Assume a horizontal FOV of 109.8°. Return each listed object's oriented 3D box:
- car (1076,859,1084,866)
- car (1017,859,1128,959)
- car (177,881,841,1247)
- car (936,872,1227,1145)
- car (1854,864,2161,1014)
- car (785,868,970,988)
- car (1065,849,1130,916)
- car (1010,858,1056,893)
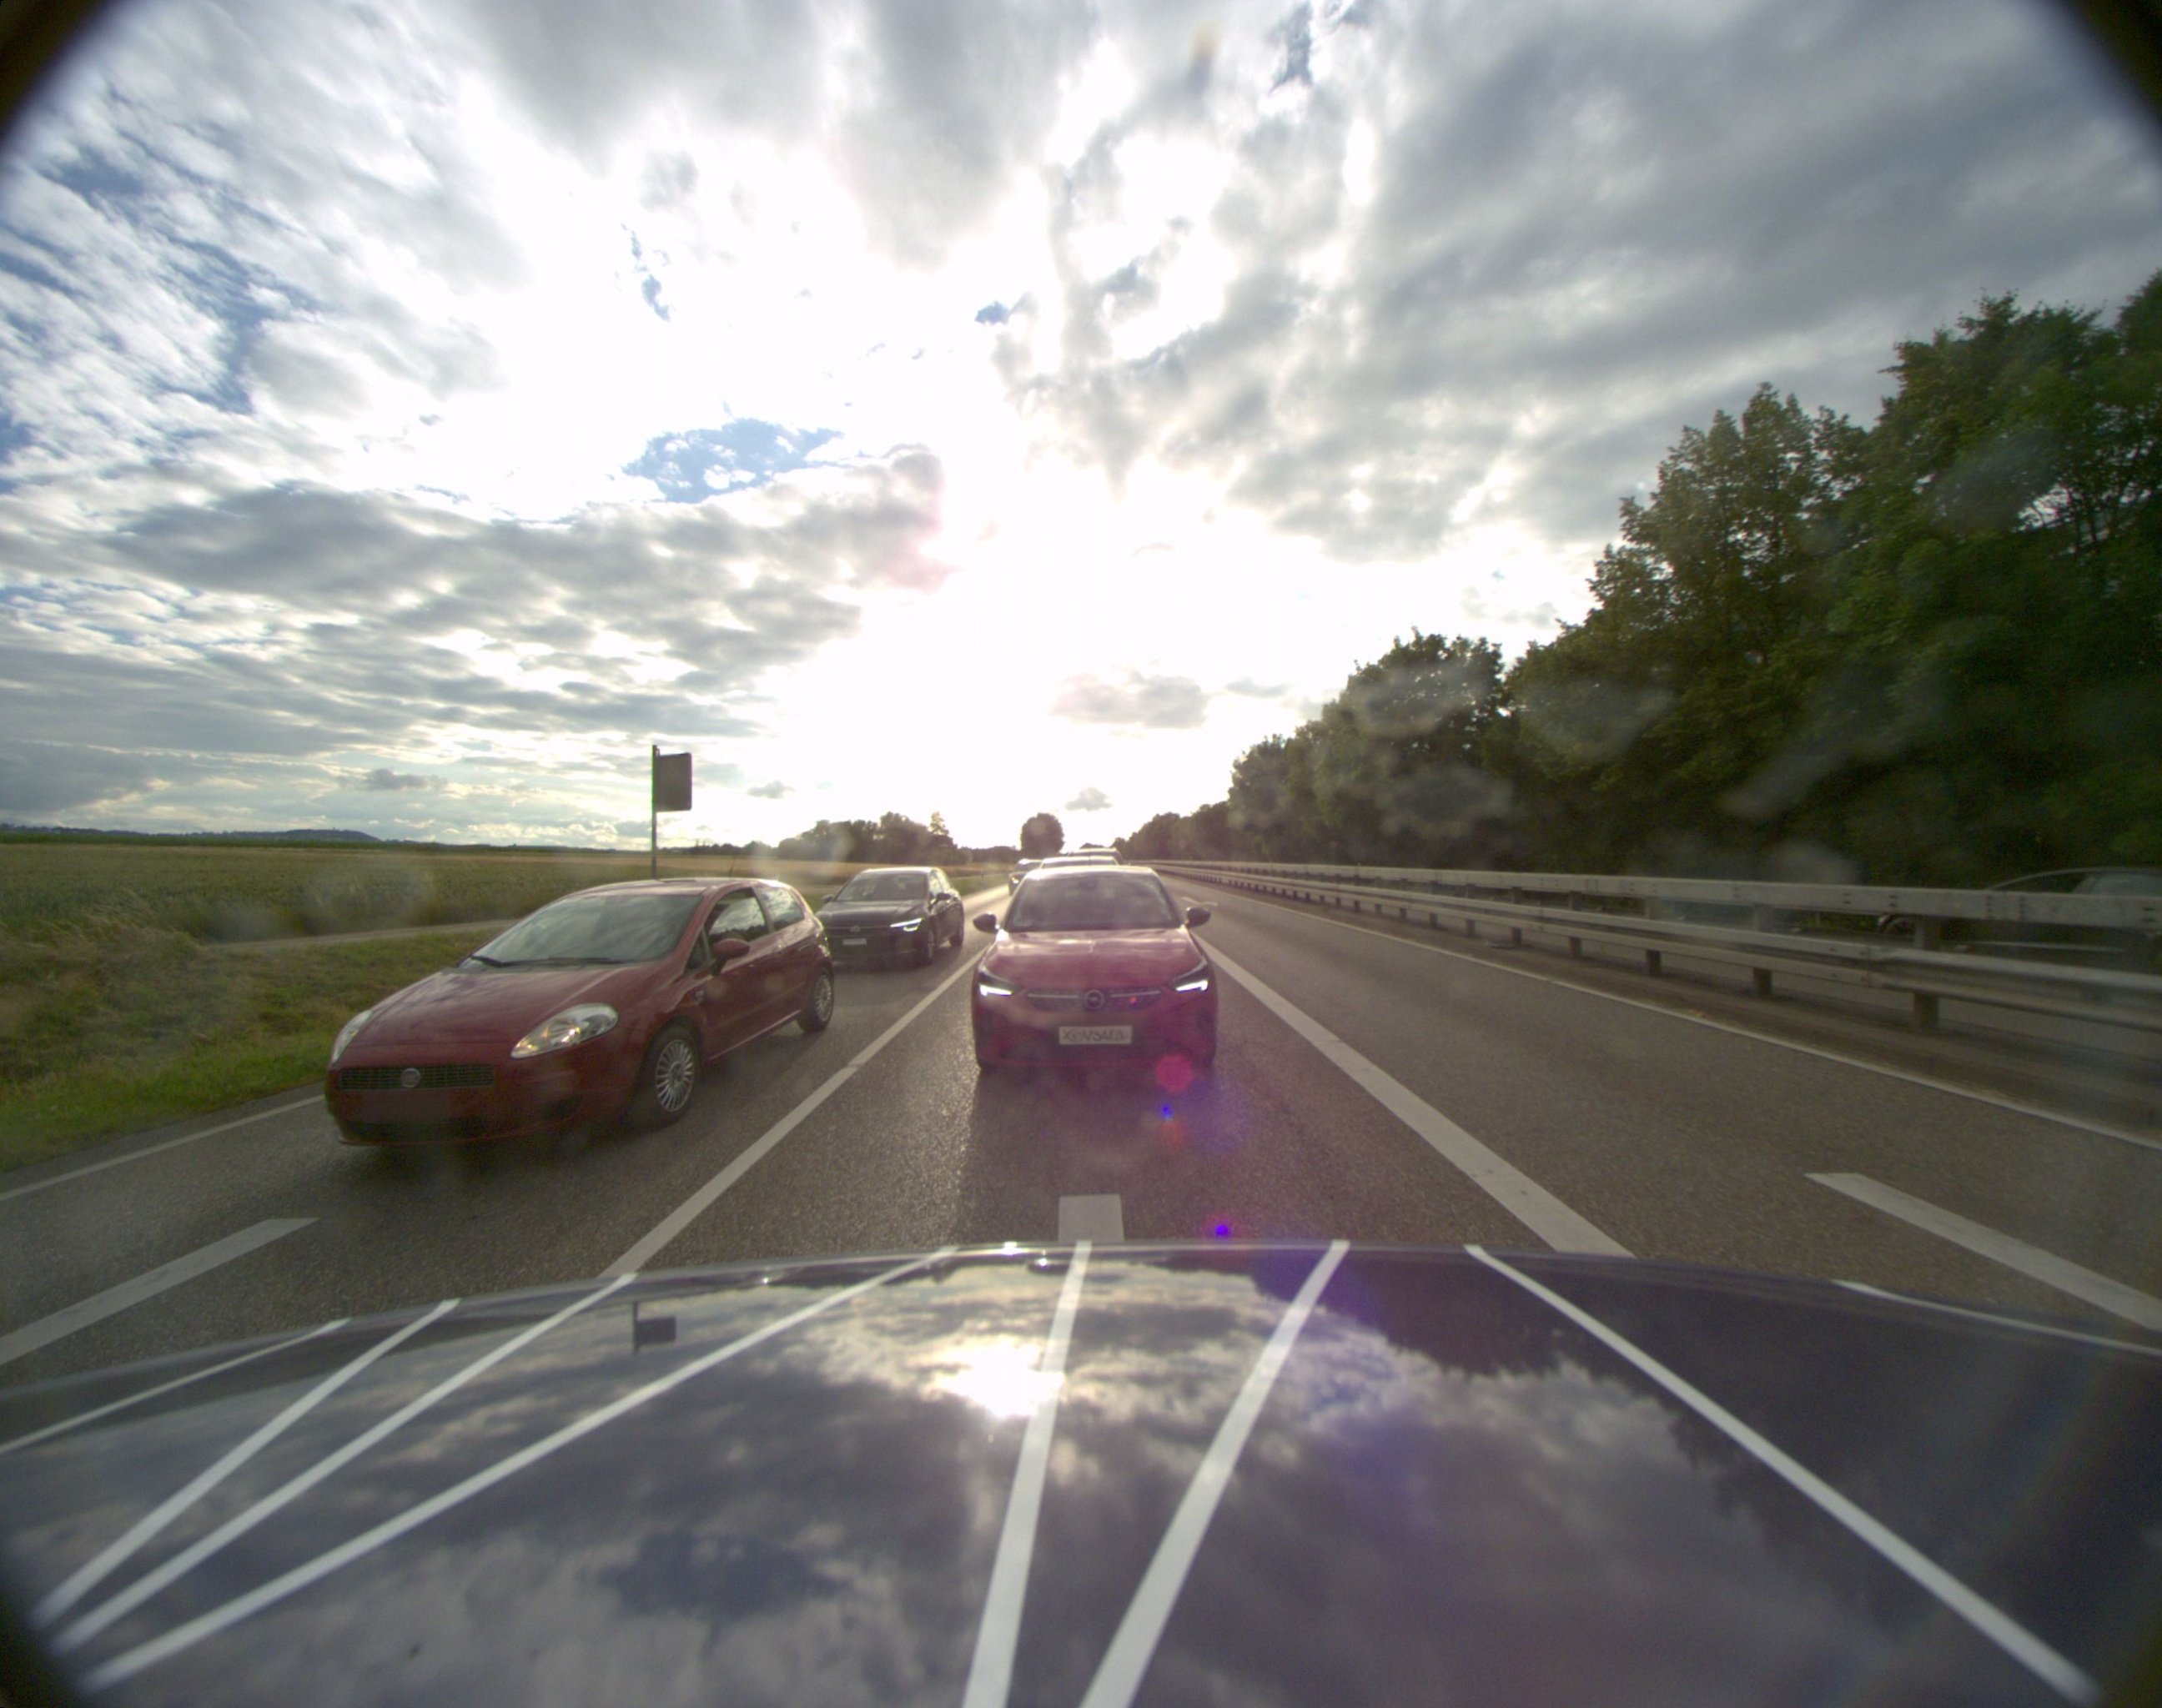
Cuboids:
[{"bbox_3d":[-0.264,2.117,183.752,1.751,1.550,3.731,-2,1,1],"label":"car"},{"bbox_3d":[-0.107,0.881,14.095,1.712,1.448,4.061,-2,1,1],"label":"car"},{"bbox_3d":[-3.256,1.046,5.467,1.712,1.448,3.908,-2,1,1],"label":"car"},{"bbox_3d":[0.033,0.994,6.649,1.712,1.448,4.061,-2,1,1],"label":"car"},{"bbox_3d":[12.490,0.936,9.142,1.920,1.448,4.372,-2,1,0],"label":"car"},{"bbox_3d":[-3.062,1.045,12.329,1.799,1.448,4.032,-2,1,1],"label":"car"},{"bbox_3d":[0.470,0.743,22.292,1.671,1.730,4.032,-2,1,1],"label":"car"},{"bbox_3d":[-2.224,0.974,36.029,1.799,1.448,4.032,-2,1,1],"label":"car"}]
